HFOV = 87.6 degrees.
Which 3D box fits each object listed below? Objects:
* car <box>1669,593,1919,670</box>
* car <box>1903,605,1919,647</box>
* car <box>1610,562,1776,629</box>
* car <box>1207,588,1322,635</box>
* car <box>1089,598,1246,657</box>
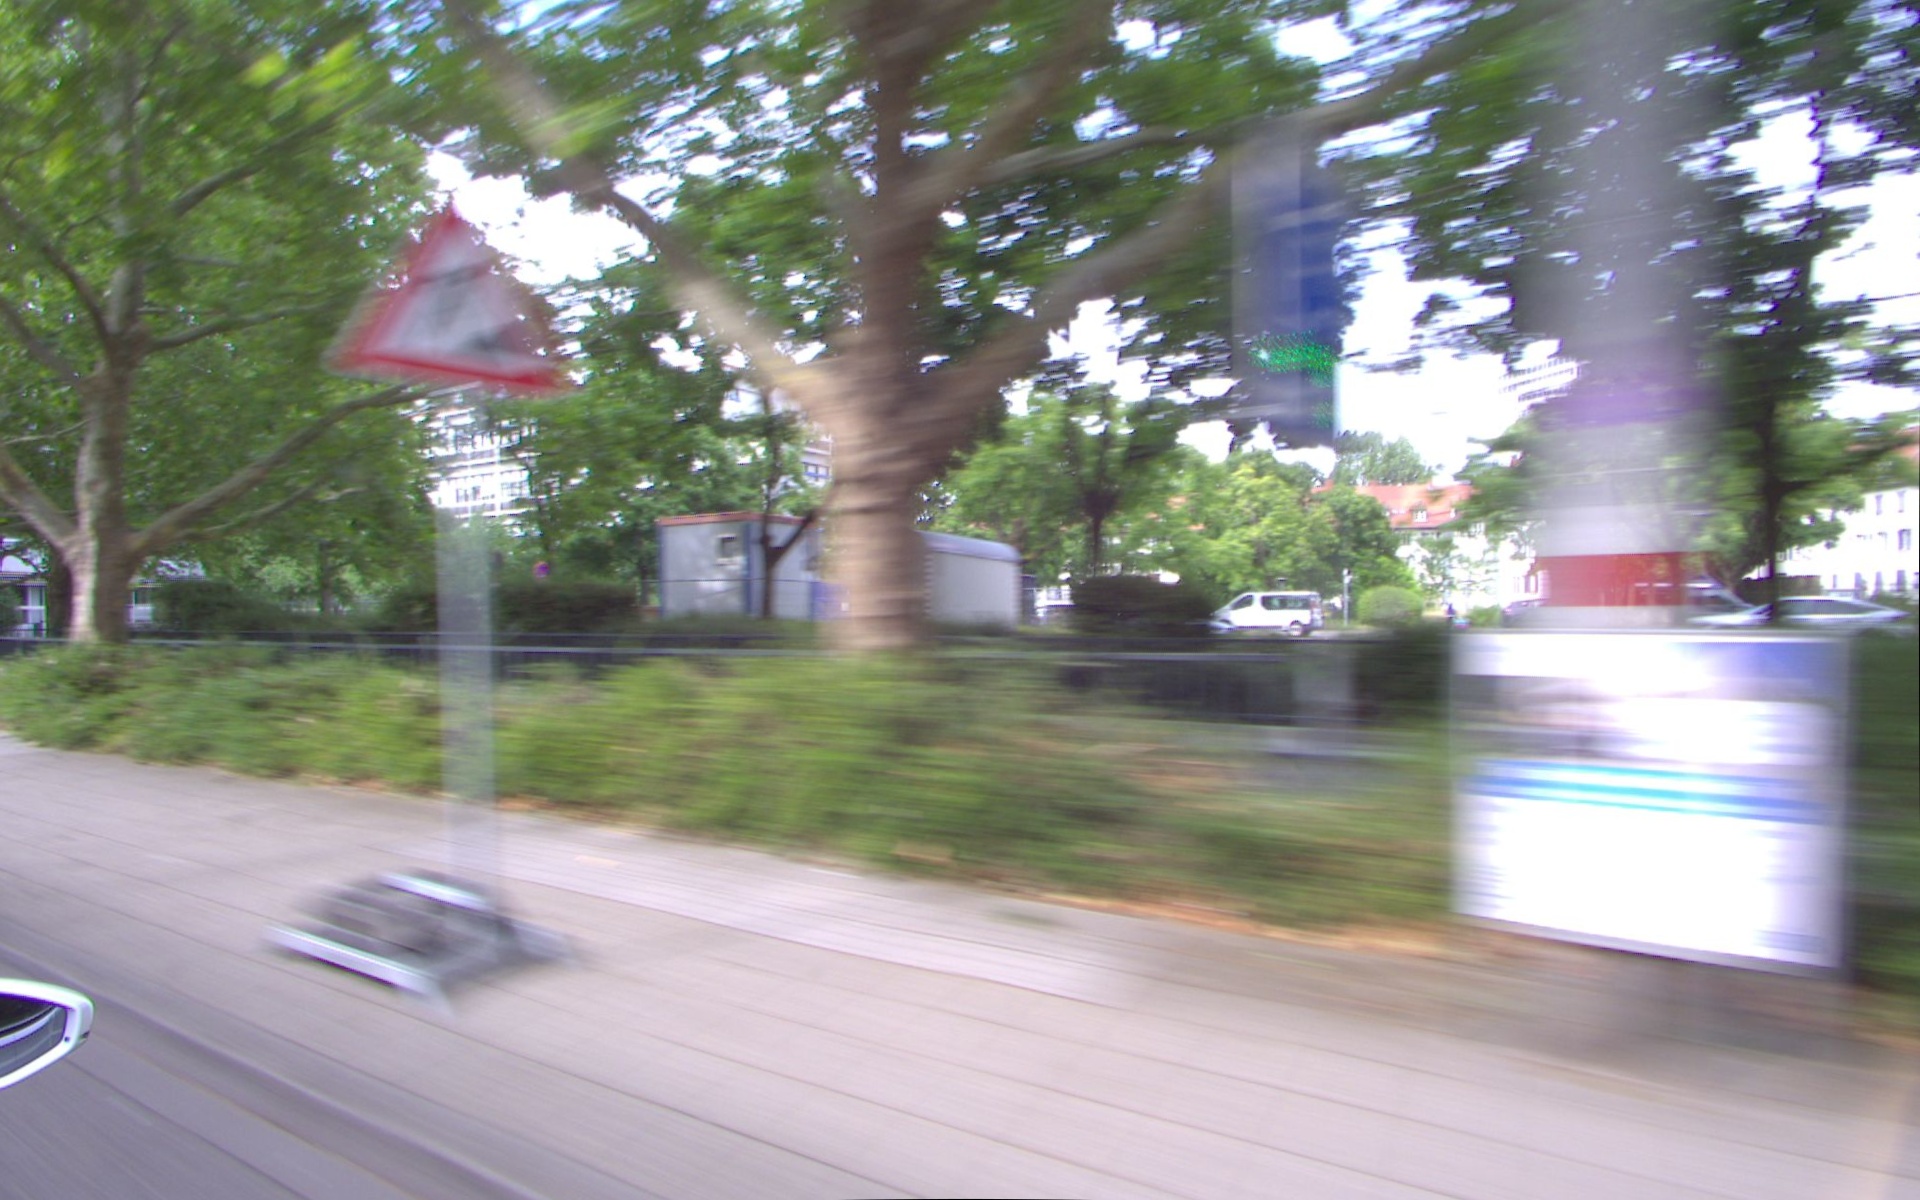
[{"bbox_3d":[21.014,0.779,25.417,4.699,1.817,1.993,0,-2,29],"label":"car"},{"bbox_3d":[44.144,1.167,43.184,4.699,1.817,1.993,0,-2,29],"label":"car"},{"bbox_3d":[30.946,-0.155,42.540,5.412,2.647,2.433,0,-2,29],"label":"car"},{"bbox_3d":[13.735,0.529,45.202,4.697,2.039,1.993,0,-2,27],"label":"car"},{"bbox_3d":[6.834,0.891,33.051,4.699,1.817,1.993,0,-2,29],"label":"car"}]
